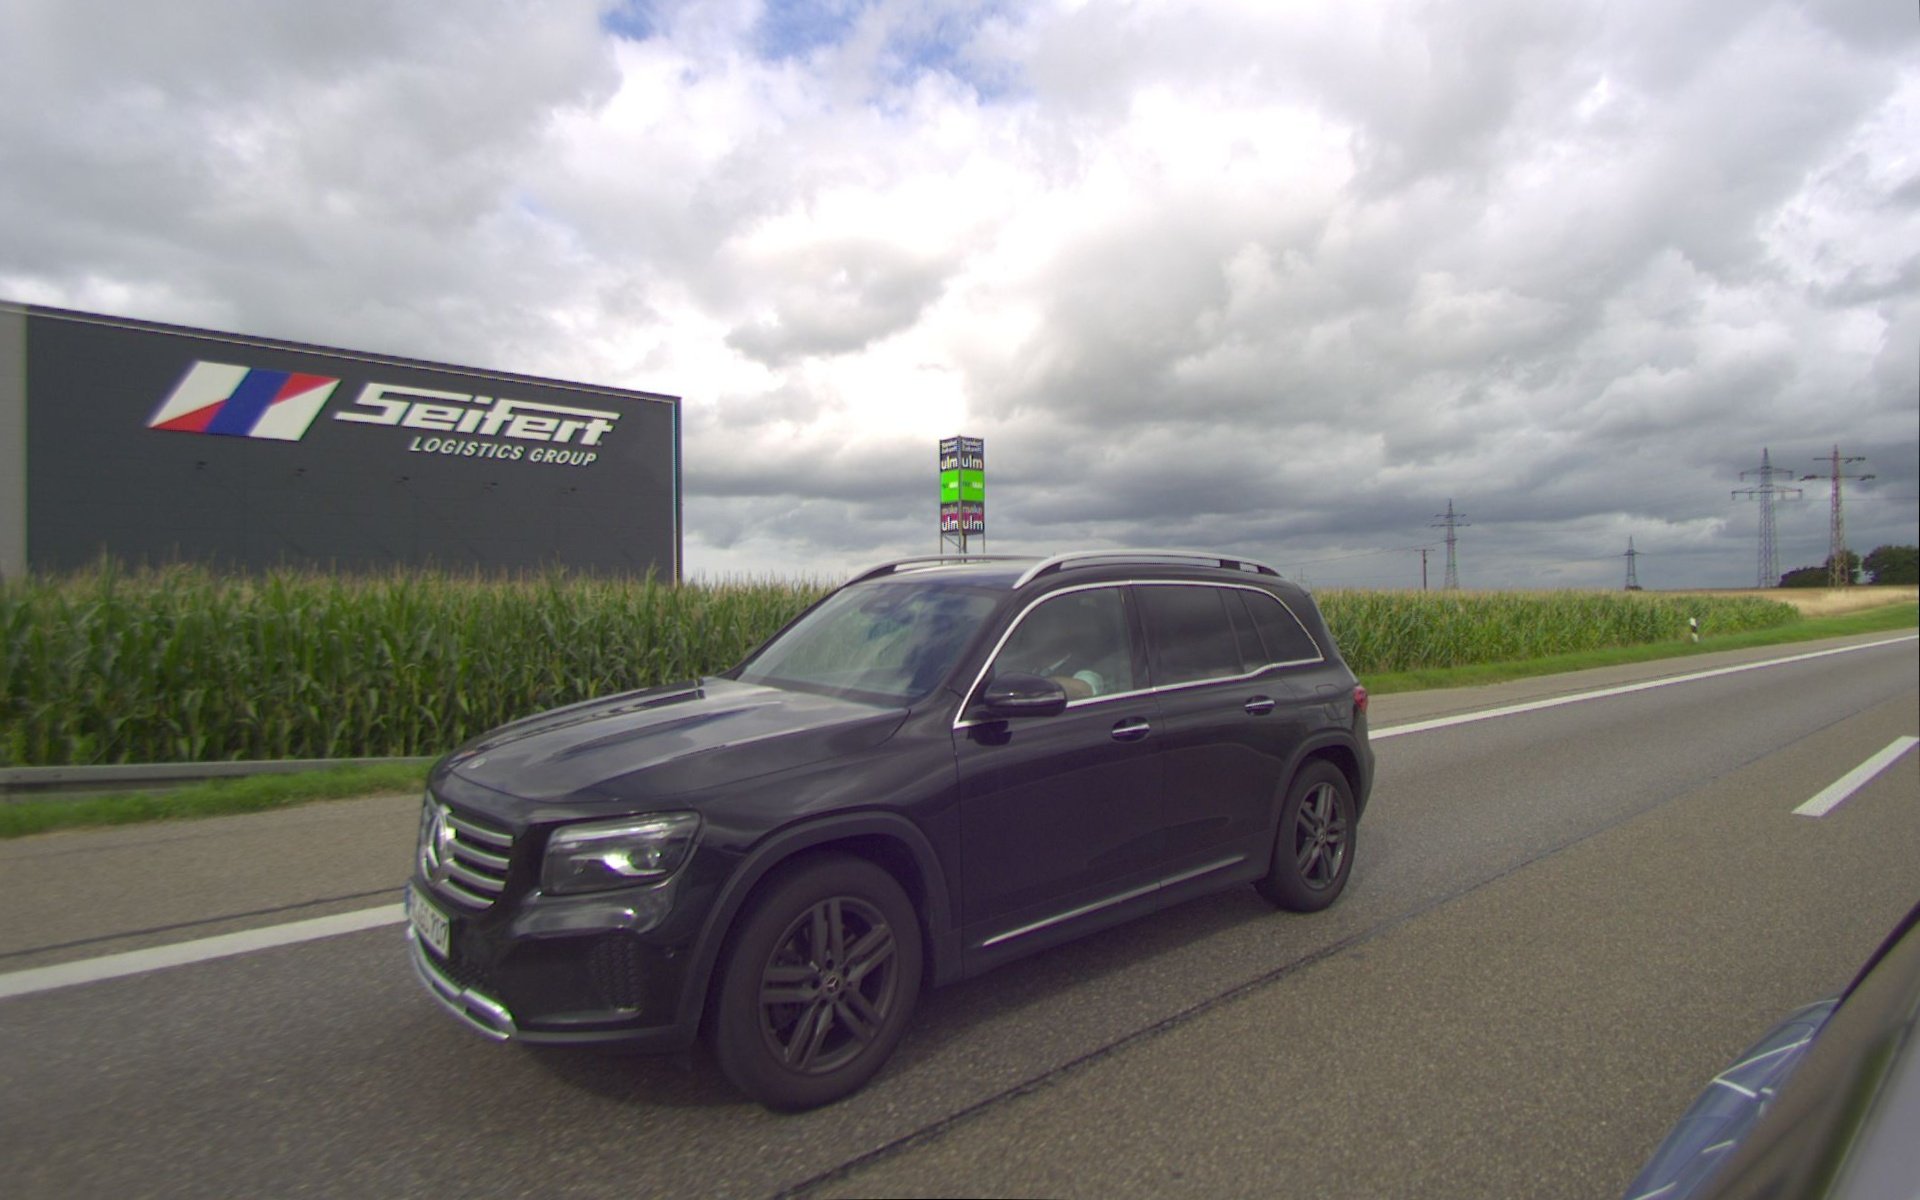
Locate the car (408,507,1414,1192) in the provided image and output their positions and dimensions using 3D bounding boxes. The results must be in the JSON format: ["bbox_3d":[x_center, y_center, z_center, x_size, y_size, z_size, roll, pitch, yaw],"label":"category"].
[{"bbox_3d":[0.131,0.559,4.512,4.284,1.629,1.837,-1,1,-41],"label":"car"}]
